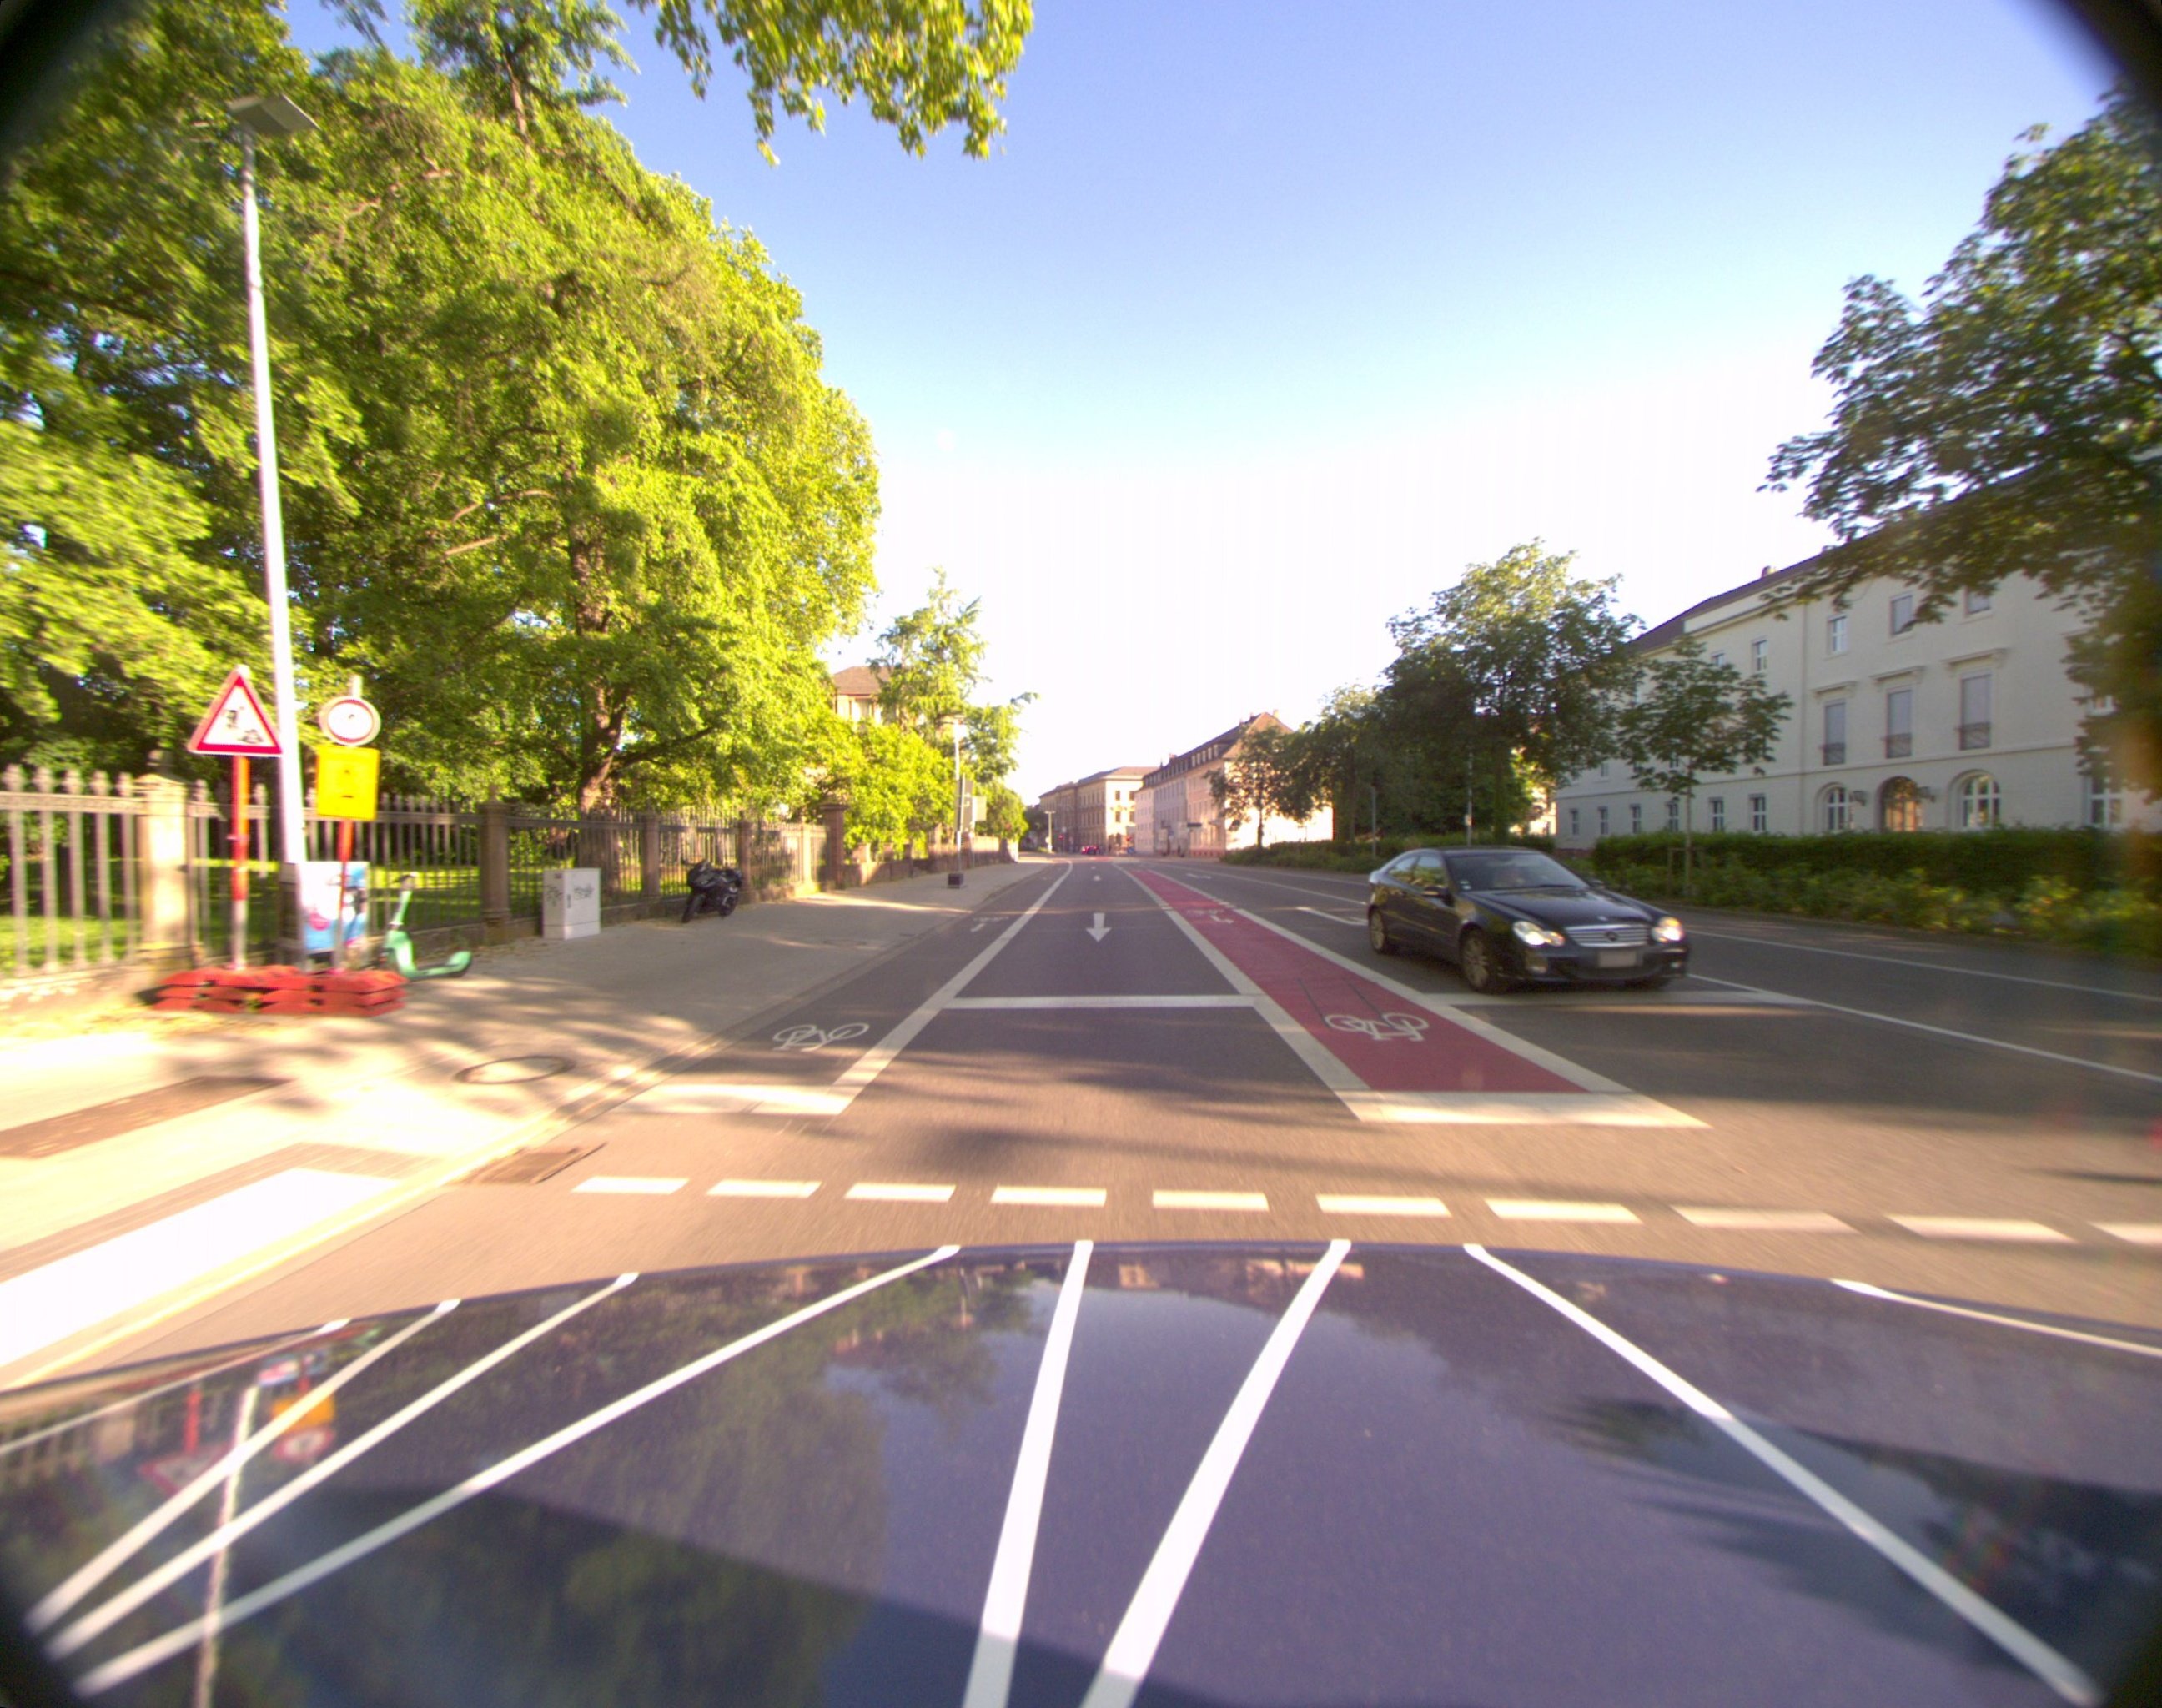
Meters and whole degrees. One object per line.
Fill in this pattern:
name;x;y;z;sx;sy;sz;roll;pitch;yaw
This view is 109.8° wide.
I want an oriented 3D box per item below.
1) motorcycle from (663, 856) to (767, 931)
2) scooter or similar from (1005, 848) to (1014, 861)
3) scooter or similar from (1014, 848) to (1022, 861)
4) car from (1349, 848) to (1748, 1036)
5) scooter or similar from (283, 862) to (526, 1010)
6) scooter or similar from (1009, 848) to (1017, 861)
motorcycle;-6.897;0.699;14.464;0.906;1.285;2.038;0;1;2
scooter or similar;-5.738;0.026;61.200;0.416;1.035;1.779;-2;1;2
scooter or similar;-5.218;0.018;63.465;0.416;1.035;1.779;-2;1;2
car;4.594;0.702;8.429;1.721;1.410;4.526;-2;1;2
scooter or similar;-6.838;0.761;7.839;0.794;1.248;1.836;4;1;2
scooter or similar;-5.704;0.010;63.509;0.416;1.035;1.779;-2;1;2
